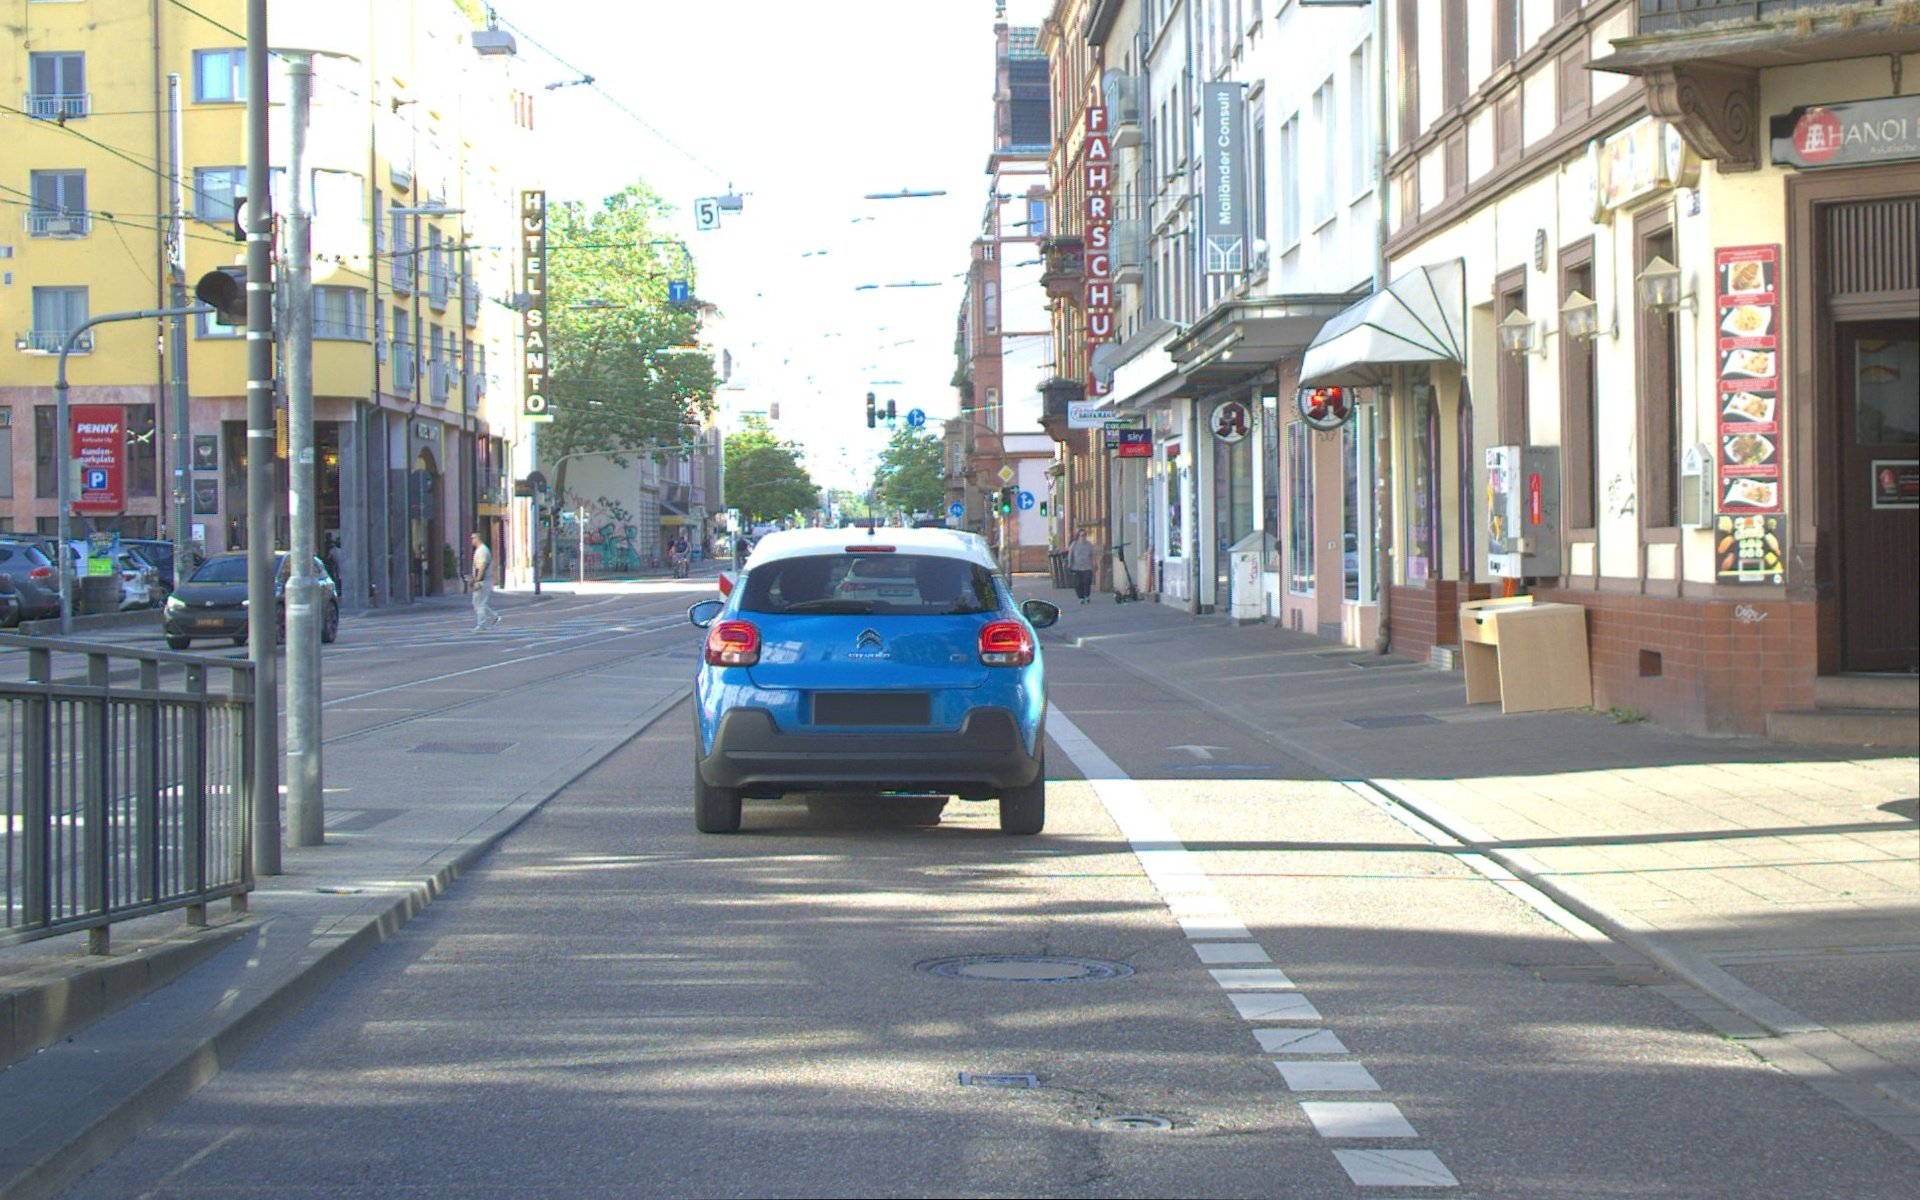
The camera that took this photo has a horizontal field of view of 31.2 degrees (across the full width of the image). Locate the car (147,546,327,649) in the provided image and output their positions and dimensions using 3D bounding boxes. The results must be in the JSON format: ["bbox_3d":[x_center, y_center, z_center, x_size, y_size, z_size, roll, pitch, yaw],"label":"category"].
[{"bbox_3d":[-11.416,-0.069,54.536,1.951,1.481,4.000,-2,1,0],"label":"car"}]

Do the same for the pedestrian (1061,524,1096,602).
[{"bbox_3d":[2.517,-0.788,73.053,0.693,1.645,0.680,0,1,-2],"label":"pedestrian"}]

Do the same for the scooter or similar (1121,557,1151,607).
[{"bbox_3d":[3.517,-0.362,68.760,0.512,0.956,1.851,0,1,0],"label":"scooter or similar"}]

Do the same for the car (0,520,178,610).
[{"bbox_3d":[-18.698,-0.752,72.607,3.986,1.841,1.958,0,1,-4],"label":"car"}]

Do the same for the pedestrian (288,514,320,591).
[{"bbox_3d":[-15.838,-1.159,82.974,0.695,1.851,0.841,-1,1,-13],"label":"pedestrian"}]

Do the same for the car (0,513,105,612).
[{"bbox_3d":[-18.335,-0.708,64.830,3.986,1.841,1.958,0,1,-4],"label":"car"}]

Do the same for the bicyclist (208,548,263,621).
[{"bbox_3d":[-13.002,-0.286,61.736,0.730,1.287,1.180,0,1,0],"label":"bicyclist"}]

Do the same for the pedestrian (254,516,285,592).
[{"bbox_3d":[-16.677,-1.119,82.998,0.695,1.823,0.841,-1,1,-13],"label":"pedestrian"}]

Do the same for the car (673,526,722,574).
[{"bbox_3d":[-11.422,-2.166,149.788,1.993,2.007,4.000,1,0,-3],"label":"car"}]

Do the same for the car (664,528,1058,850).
[{"bbox_3d":[-0.478,0.372,17.576,1.781,1.446,3.654,1,1,-1],"label":"car"}]

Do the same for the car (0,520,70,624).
[{"bbox_3d":[-18.326,-0.515,62.192,3.986,1.841,1.958,0,1,-4],"label":"car"}]

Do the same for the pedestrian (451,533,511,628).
[{"bbox_3d":[-8.430,-0.355,60.490,0.838,1.648,0.697,-1,1,-29],"label":"pedestrian"}]

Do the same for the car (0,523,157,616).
[{"bbox_3d":[-18.432,-0.626,69.540,3.986,1.841,1.958,0,1,-4],"label":"car"}]

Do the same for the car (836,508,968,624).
[{"bbox_3d":[-0.910,-0.526,54.358,1.993,1.737,4.000,1,0,-1],"label":"car"}]

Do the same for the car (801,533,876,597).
[{"bbox_3d":[-3.400,-0.960,96.828,1.993,1.737,4.000,1,0,-1],"label":"car"}]
